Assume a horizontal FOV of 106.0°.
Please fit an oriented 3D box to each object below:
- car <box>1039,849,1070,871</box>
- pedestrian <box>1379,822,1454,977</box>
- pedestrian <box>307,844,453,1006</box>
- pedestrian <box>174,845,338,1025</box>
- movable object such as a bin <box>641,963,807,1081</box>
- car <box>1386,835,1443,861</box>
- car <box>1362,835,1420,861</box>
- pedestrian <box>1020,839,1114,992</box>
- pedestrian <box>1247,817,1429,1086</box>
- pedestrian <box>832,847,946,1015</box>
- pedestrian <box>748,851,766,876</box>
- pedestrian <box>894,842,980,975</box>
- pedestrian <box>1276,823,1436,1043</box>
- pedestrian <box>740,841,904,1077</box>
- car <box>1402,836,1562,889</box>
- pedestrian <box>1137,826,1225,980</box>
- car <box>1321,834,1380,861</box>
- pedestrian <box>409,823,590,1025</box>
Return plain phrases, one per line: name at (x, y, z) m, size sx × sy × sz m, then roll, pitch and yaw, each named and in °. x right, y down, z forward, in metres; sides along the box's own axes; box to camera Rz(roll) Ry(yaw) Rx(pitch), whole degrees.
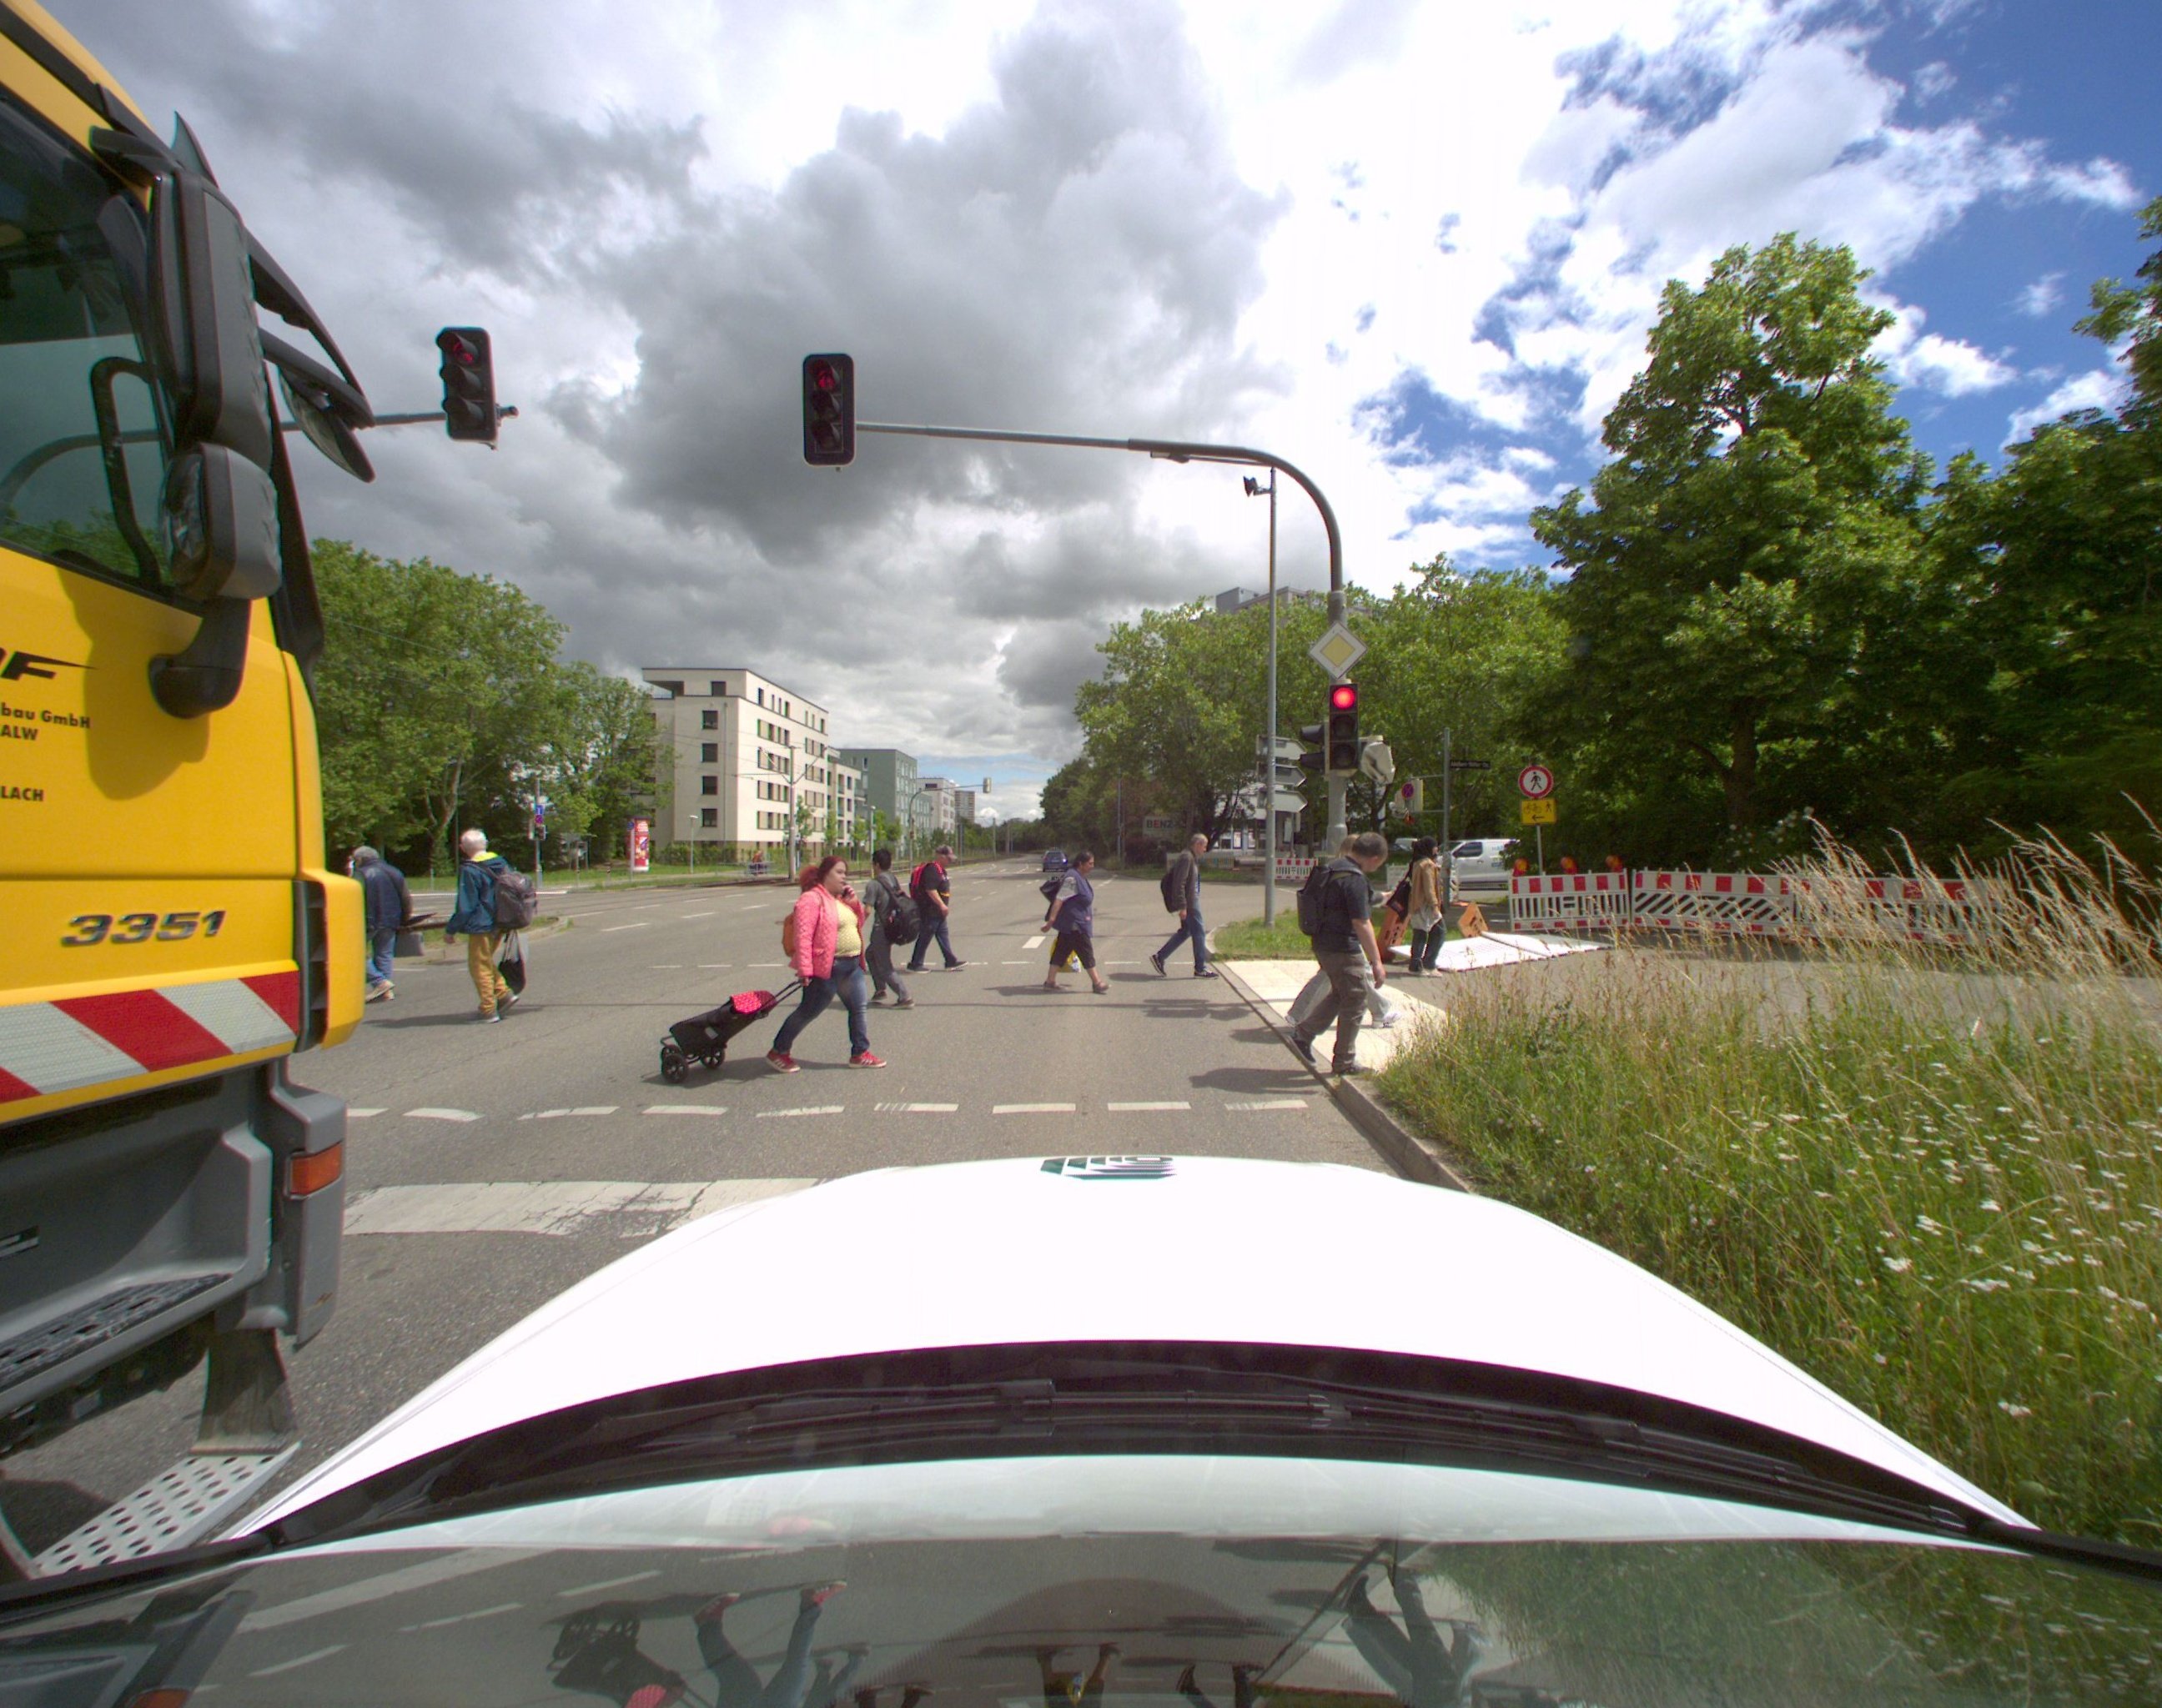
car at (-1.854, 0.387, 56.150) m, size 1.978 × 1.486 × 4.485 m, roll -1°, pitch 0°, yaw -4°
pedestrian at (4.016, 0.511, 9.728) m, size 0.775 × 1.743 × 0.833 m, roll -1°, pitch 0°, yaw 24°
pedestrian at (-7.424, 0.719, 8.656) m, size 0.864 × 1.634 × 0.766 m, roll -1°, pitch 0°, yaw 5°
pedestrian at (-7.875, 0.735, 7.810) m, size 0.818 × 1.640 × 0.734 m, roll 0°, pitch 0°, yaw 5°
movable object such as a bin at (-2.467, 1.153, 5.721) m, size 0.792 × 0.662 × 0.778 m, roll -1°, pitch 0°, yaw 2°
car at (27.317, -0.496, 66.862) m, size 2.006 × 2.013 × 3.962 m, roll -1°, pitch 0°, yaw -29°
car at (24.603, -0.492, 64.728) m, size 2.006 × 2.013 × 3.962 m, roll -1°, pitch 0°, yaw -29°
pedestrian at (-0.132, 0.645, 9.017) m, size 0.908 × 1.607 × 0.931 m, roll -1°, pitch 0°, yaw 6°
pedestrian at (1.670, 0.597, 5.450) m, size 0.955 × 1.648 × 0.881 m, roll -1°, pitch 0°, yaw 2°
pedestrian at (-1.862, 0.714, 8.017) m, size 0.944 × 1.552 × 0.842 m, roll -1°, pitch 0°, yaw -4°
pedestrian at (-20.130, 0.607, 50.632) m, size 0.827 × 1.516 × 0.636 m, roll -1°, pitch 0°, yaw 1°
pedestrian at (-1.798, 0.655, 10.304) m, size 0.890 × 1.596 × 0.908 m, roll -1°, pitch 0°, yaw 0°
pedestrian at (2.170, 0.592, 6.578) m, size 1.016 × 1.648 × 0.930 m, roll -1°, pitch 0°, yaw 4°
pedestrian at (-1.797, 0.693, 5.762) m, size 0.877 × 1.554 × 0.747 m, roll -1°, pitch 0°, yaw 2°
car at (14.920, 0.301, 30.452) m, size 5.063 × 1.874 × 1.947 m, roll -1°, pitch 0°, yaw -2°
pedestrian at (1.232, 0.566, 9.922) m, size 0.996 × 1.773 × 0.931 m, roll -1°, pitch 0°, yaw 8°
car at (20.572, -0.485, 62.247) m, size 2.006 × 2.013 × 3.962 m, roll -1°, pitch 0°, yaw -29°
pedestrian at (-5.436, 0.613, 7.687) m, size 1.007 × 1.774 × 0.948 m, roll -1°, pitch 0°, yaw -1°
